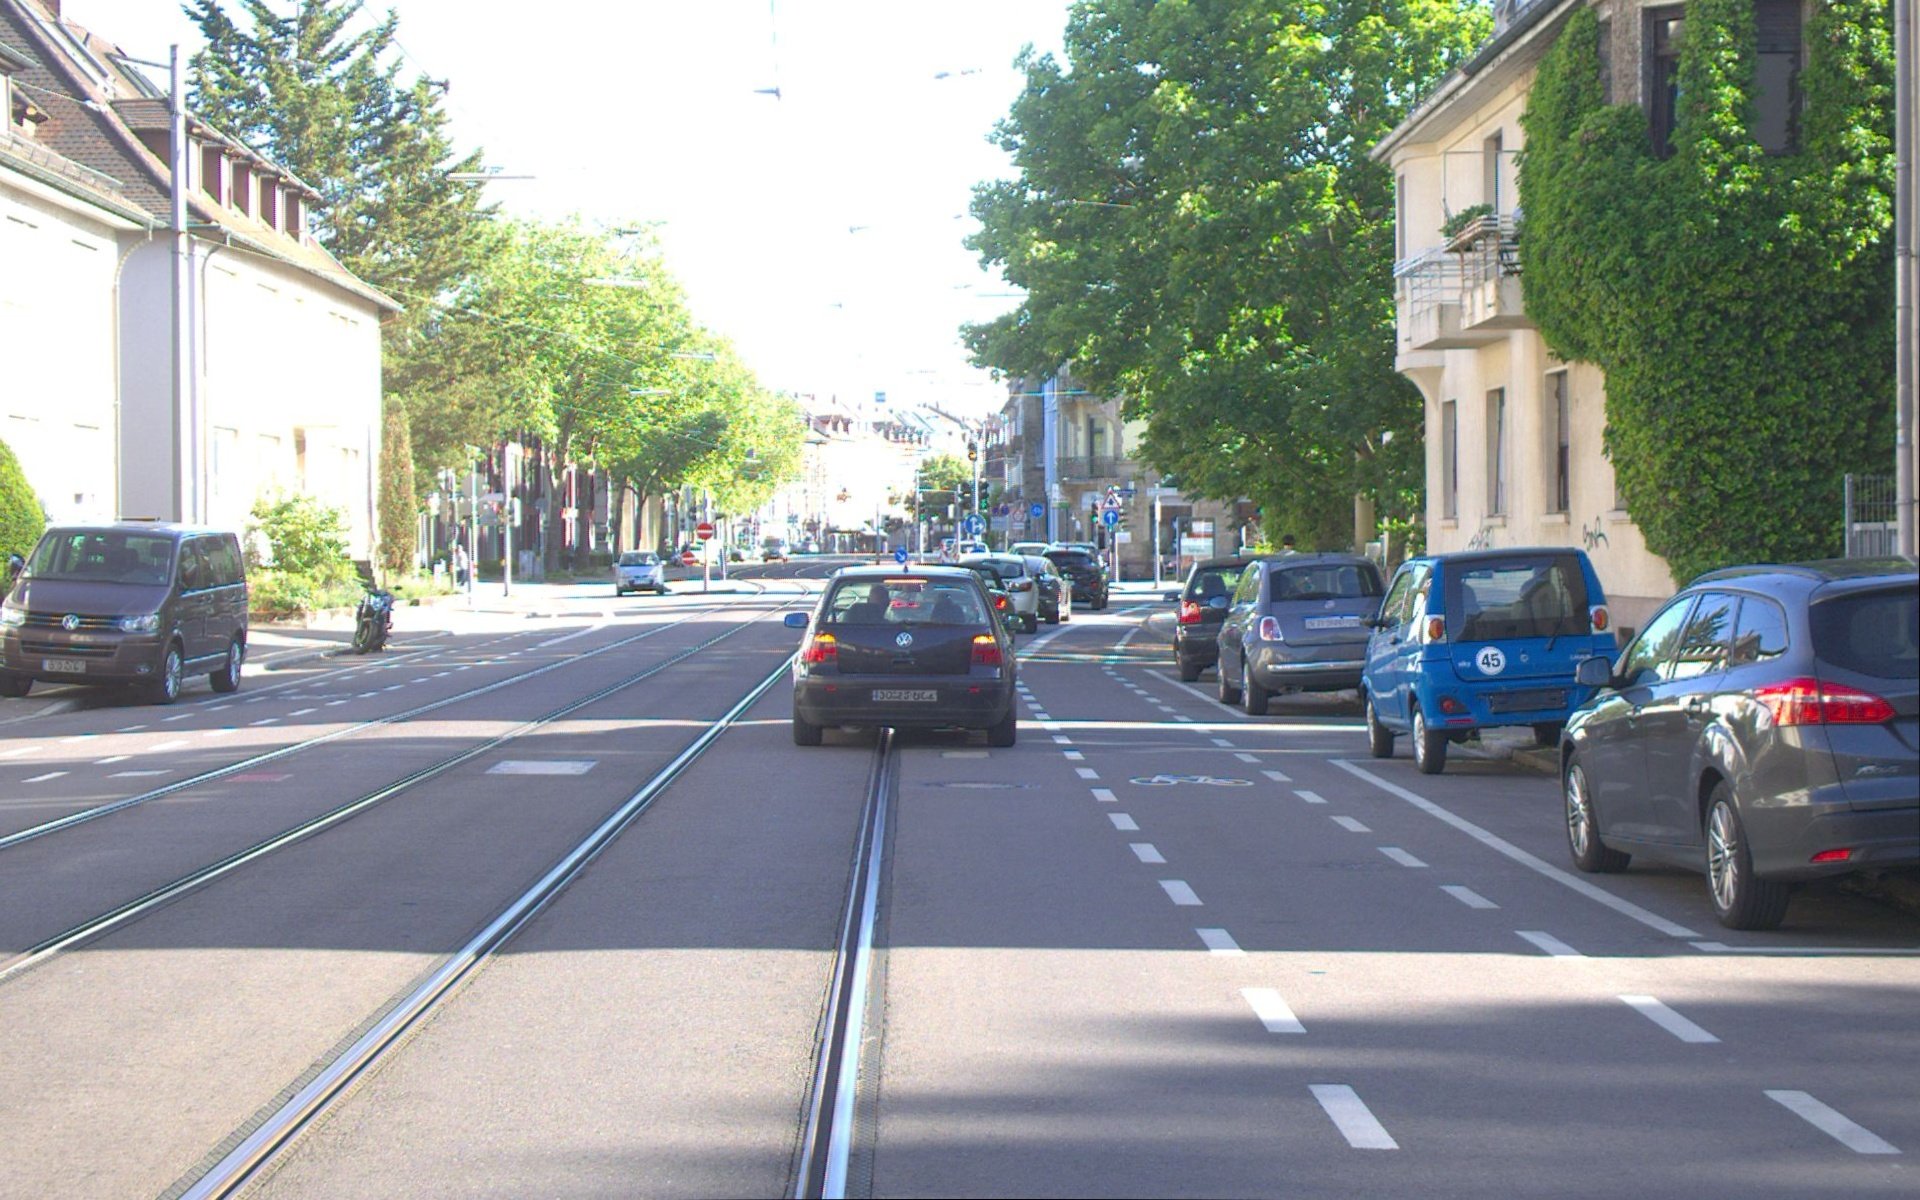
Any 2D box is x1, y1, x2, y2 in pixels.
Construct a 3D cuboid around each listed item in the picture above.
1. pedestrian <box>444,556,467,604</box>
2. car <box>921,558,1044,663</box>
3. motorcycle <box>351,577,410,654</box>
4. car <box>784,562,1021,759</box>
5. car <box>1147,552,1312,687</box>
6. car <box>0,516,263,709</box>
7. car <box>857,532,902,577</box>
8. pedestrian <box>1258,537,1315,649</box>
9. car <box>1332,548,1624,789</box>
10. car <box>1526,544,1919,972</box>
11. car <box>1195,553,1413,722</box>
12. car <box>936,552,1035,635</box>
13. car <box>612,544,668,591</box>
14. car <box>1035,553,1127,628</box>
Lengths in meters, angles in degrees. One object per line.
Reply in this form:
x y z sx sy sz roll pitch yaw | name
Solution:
-18.151 -0.725 123.716 0.609 1.684 0.734 2 1 -19 | pedestrian
0.303 0.118 48.259 1.634 1.367 3.757 -1 1 0 | car
-9.175 0.231 54.521 0.536 1.158 2.172 -2 1 0 | motorcycle
-0.444 0.422 27.330 1.716 1.398 4.006 1 1 -1 | car
3.257 0.209 42.148 1.665 1.558 3.771 1 1 -1 | car
-9.380 0.089 38.928 1.906 2.007 4.949 1 1 0 | car
-3.483 -1.957 147.579 1.787 1.853 4.001 2 1 -2 | car
4.984 -0.108 52.556 0.717 1.682 0.870 -2 1 -2 | pedestrian
3.692 0.442 24.964 1.457 1.593 3.294 1 1 -3 | car
3.847 0.574 15.196 1.744 1.593 4.434 1 1 -3 | car
3.310 0.328 33.659 1.601 1.520 3.550 1 1 -3 | car
0.436 -0.136 62.505 1.740 1.436 3.810 0 1 -1 | car
-10.235 -1.052 110.109 1.575 1.472 3.441 -1 1 -3 | car
2.458 -0.211 70.507 1.569 1.306 3.648 -1 3 -3 | car
